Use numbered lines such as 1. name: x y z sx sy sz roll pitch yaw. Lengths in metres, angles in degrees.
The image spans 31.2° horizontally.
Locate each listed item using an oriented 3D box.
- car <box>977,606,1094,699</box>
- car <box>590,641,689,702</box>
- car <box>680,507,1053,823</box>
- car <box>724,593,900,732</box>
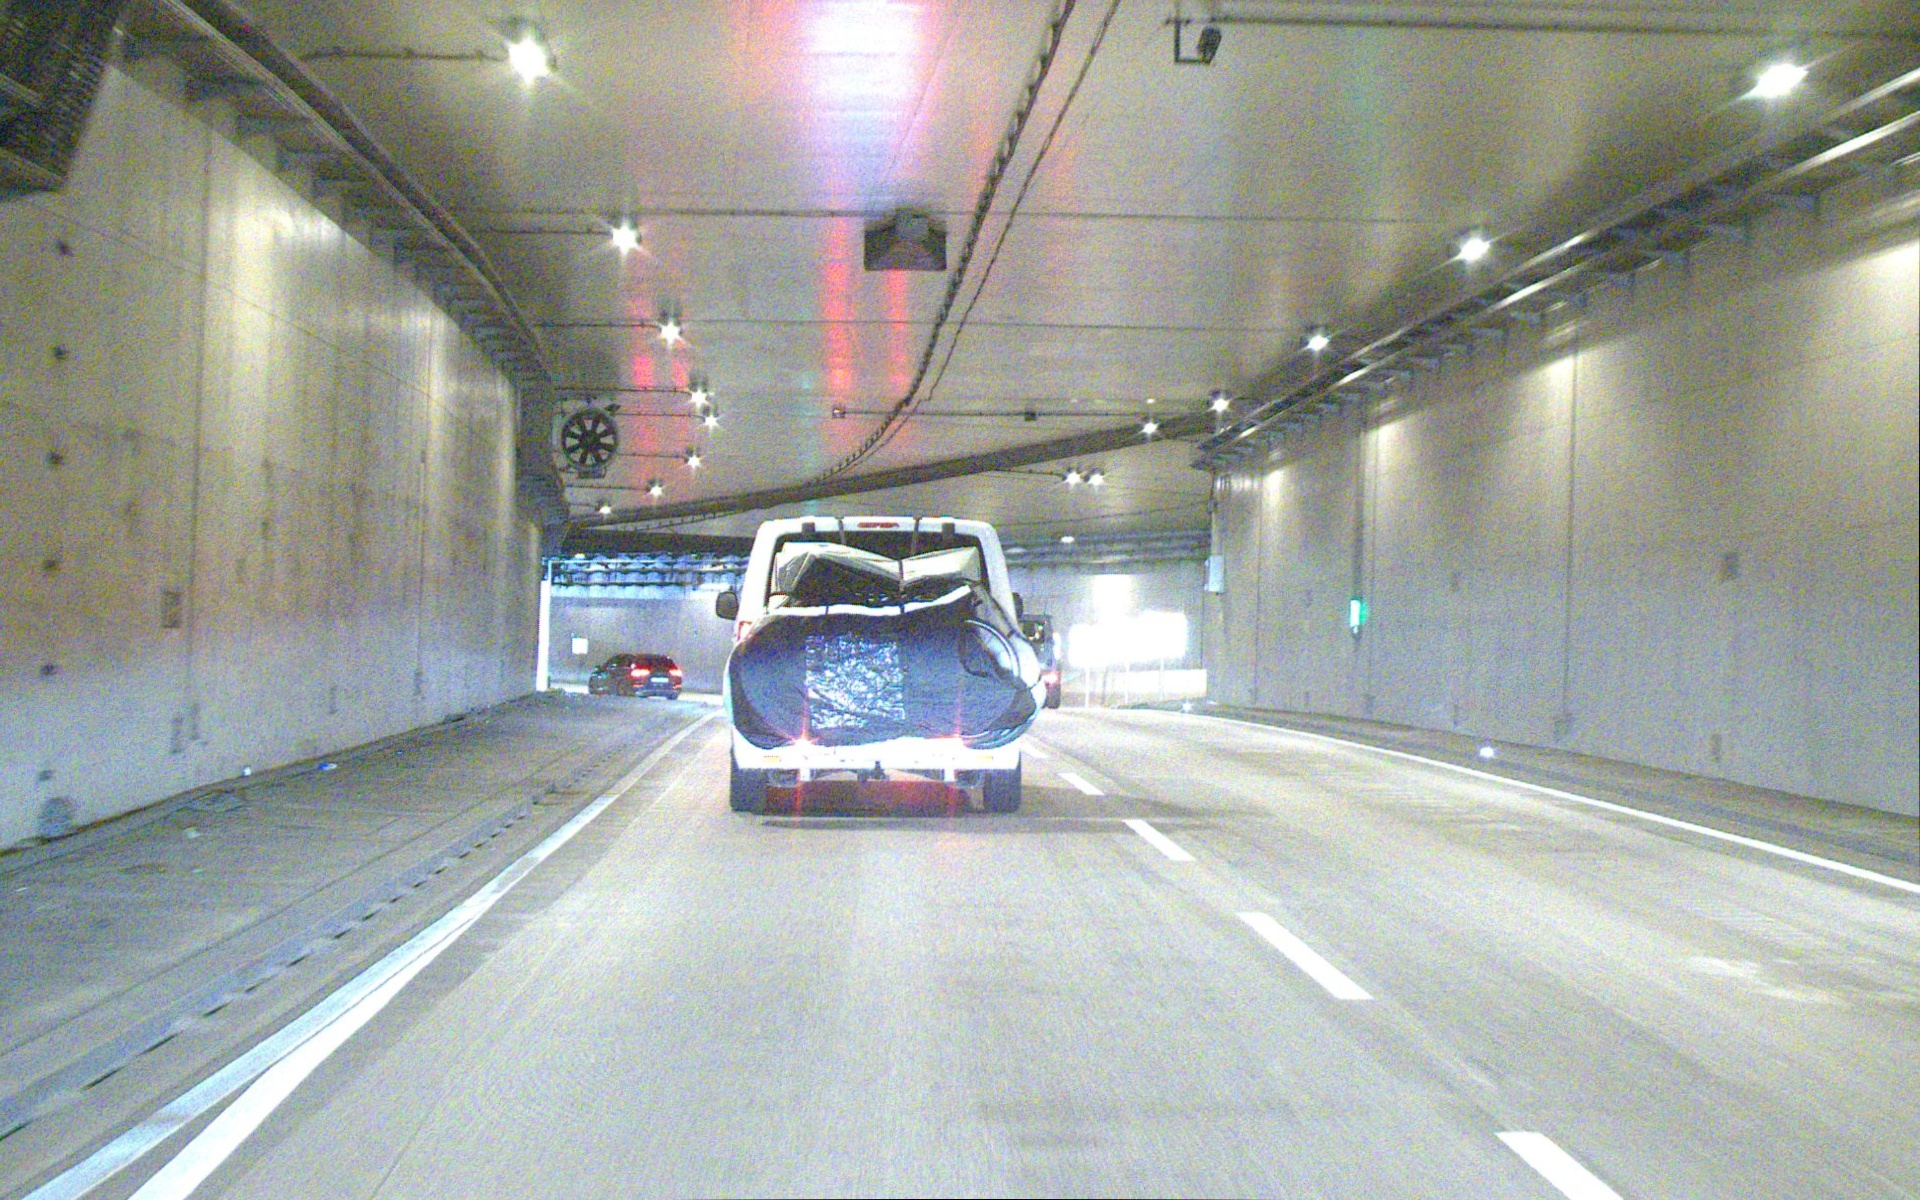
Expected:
1. car: 1.324 0.933 61.725 1.602 1.625 3.356 0 -1 -8
2. car: -9.613 2.130 102.869 1.822 1.625 3.844 4 -1 -22
3. car: -0.755 0.368 22.806 1.993 1.841 5.302 0 0 -7
4. car: -1.625 0.651 36.860 1.602 1.391 3.278 2 -1 -7
